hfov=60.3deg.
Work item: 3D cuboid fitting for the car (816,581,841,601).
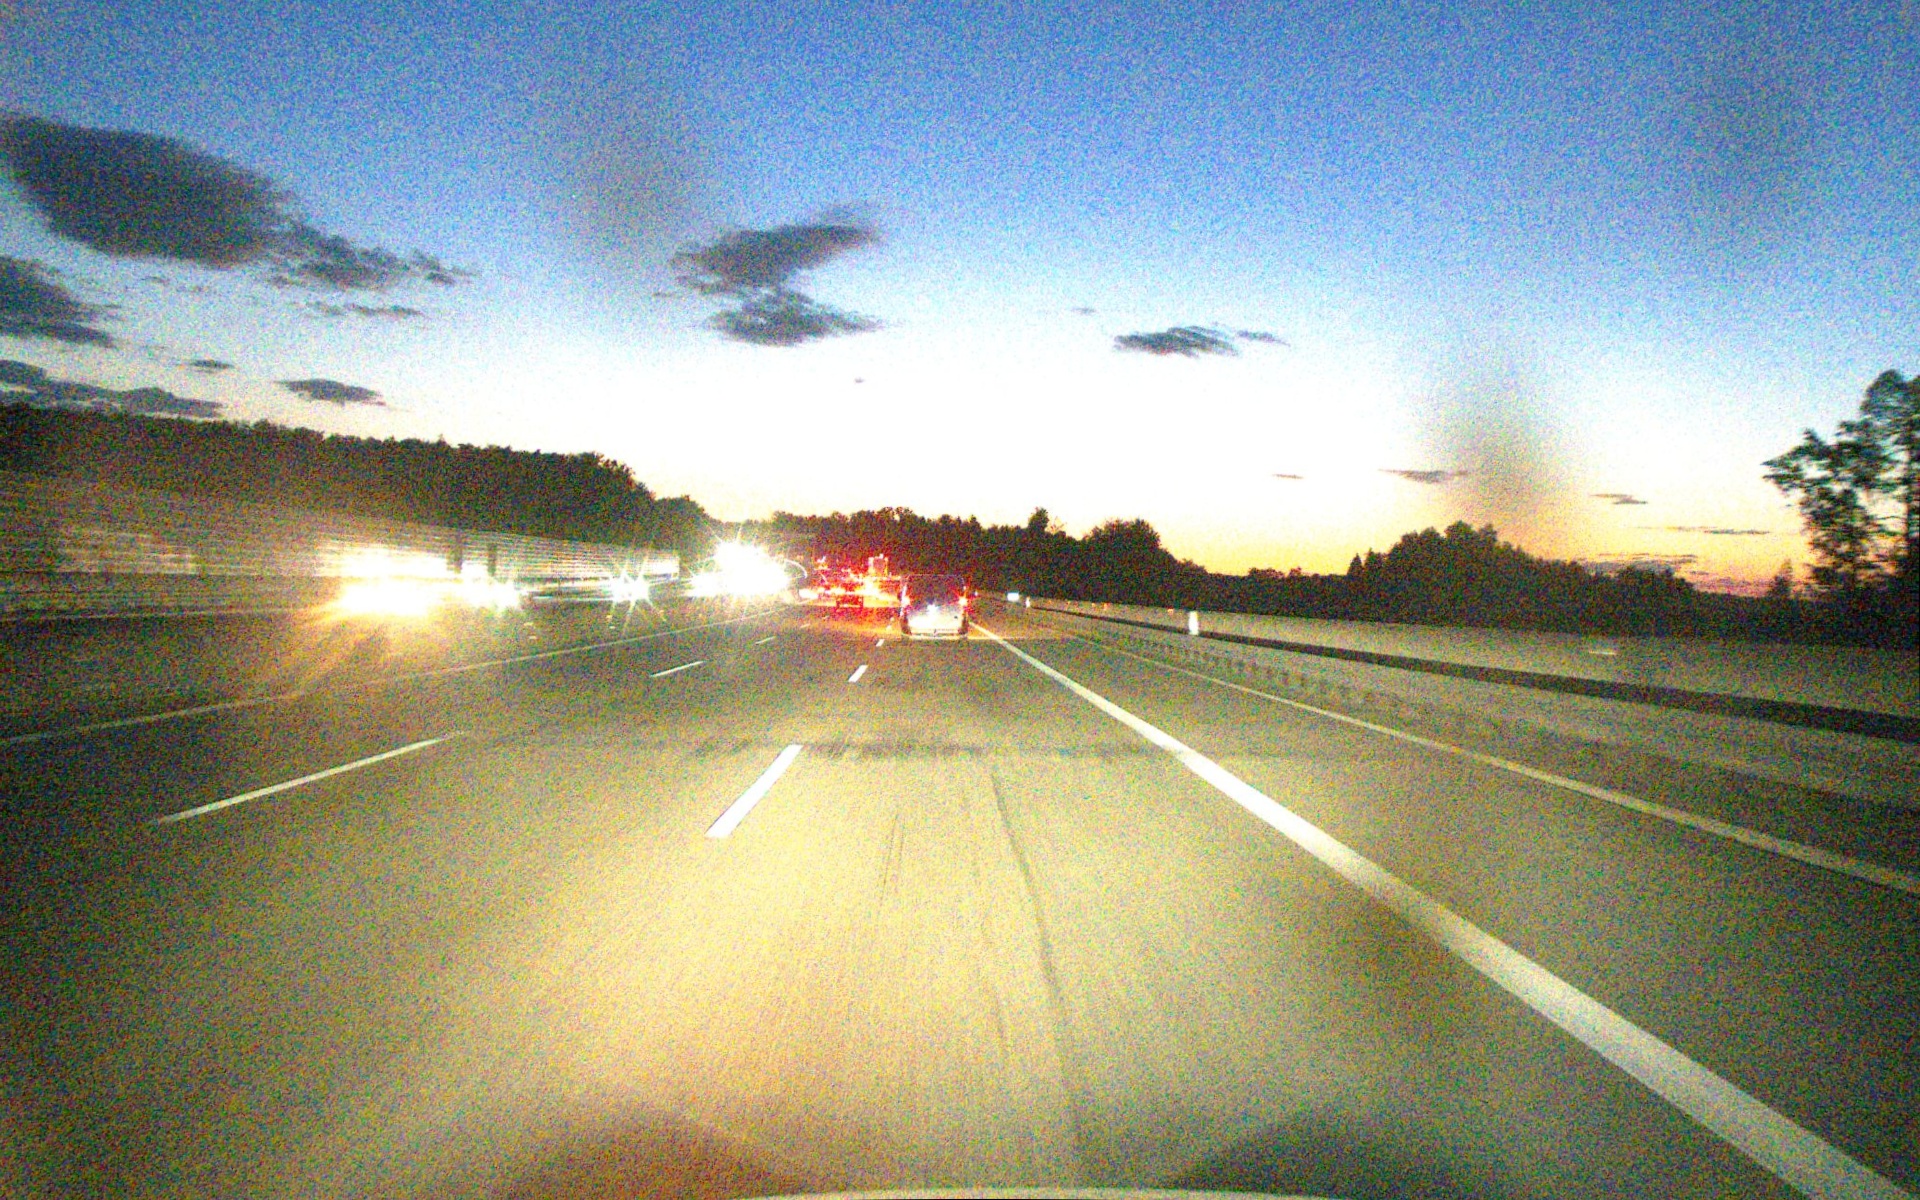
[{"bbox_3d":[-11.764,-0.839,148.290,2.128,1.696,4.883,1,0,-3],"label":"car"}]

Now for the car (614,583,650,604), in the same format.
[{"bbox_3d":[-26.207,-0.488,132.283,2.076,1.583,5.107,1,0,-2],"label":"car"}]

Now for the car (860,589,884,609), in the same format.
[{"bbox_3d":[-8.201,-0.071,154.558,1.953,1.825,3.999,1,0,0],"label":"car"}]

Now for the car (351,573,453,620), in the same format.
[{"bbox_3d":[-20.006,-0.122,59.537,2.076,1.583,5.107,1,0,-2],"label":"car"}]

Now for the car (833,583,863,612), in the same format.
[{"bbox_3d":[-7.616,-0.158,112.711,1.954,1.847,3.996,1,0,-4],"label":"car"}]

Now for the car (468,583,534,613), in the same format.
[{"bbox_3d":[-24.366,-0.118,88.020,2.140,1.507,5.240,2,0,-2],"label":"car"}]

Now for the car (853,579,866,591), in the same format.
[{"bbox_3d":[-15.125,-2.245,248.695,1.954,1.825,3.997,1,0,-3],"label":"car"}]

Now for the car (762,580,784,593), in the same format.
[{"bbox_3d":[-24.954,-1.766,220.882,2.508,1.583,5.107,1,0,-2],"label":"car"}]

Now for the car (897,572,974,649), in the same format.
[{"bbox_3d":[-0.800,0.242,49.032,2.073,2.035,5.662,2,1,-2],"label":"car"}]

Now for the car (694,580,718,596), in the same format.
[{"bbox_3d":[-29.285,-1.361,191.031,2.012,1.813,5.938,1,0,-2],"label":"car"}]

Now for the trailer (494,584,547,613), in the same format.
[{"bbox_3d":[-24.500,-0.099,92.224,2.140,1.507,3.128,2,0,-2],"label":"trailer"}]

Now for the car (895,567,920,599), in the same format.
[{"bbox_3d":[-4.608,-1.537,144.987,1.992,2.693,5.722,1,1,-3],"label":"car"}]
